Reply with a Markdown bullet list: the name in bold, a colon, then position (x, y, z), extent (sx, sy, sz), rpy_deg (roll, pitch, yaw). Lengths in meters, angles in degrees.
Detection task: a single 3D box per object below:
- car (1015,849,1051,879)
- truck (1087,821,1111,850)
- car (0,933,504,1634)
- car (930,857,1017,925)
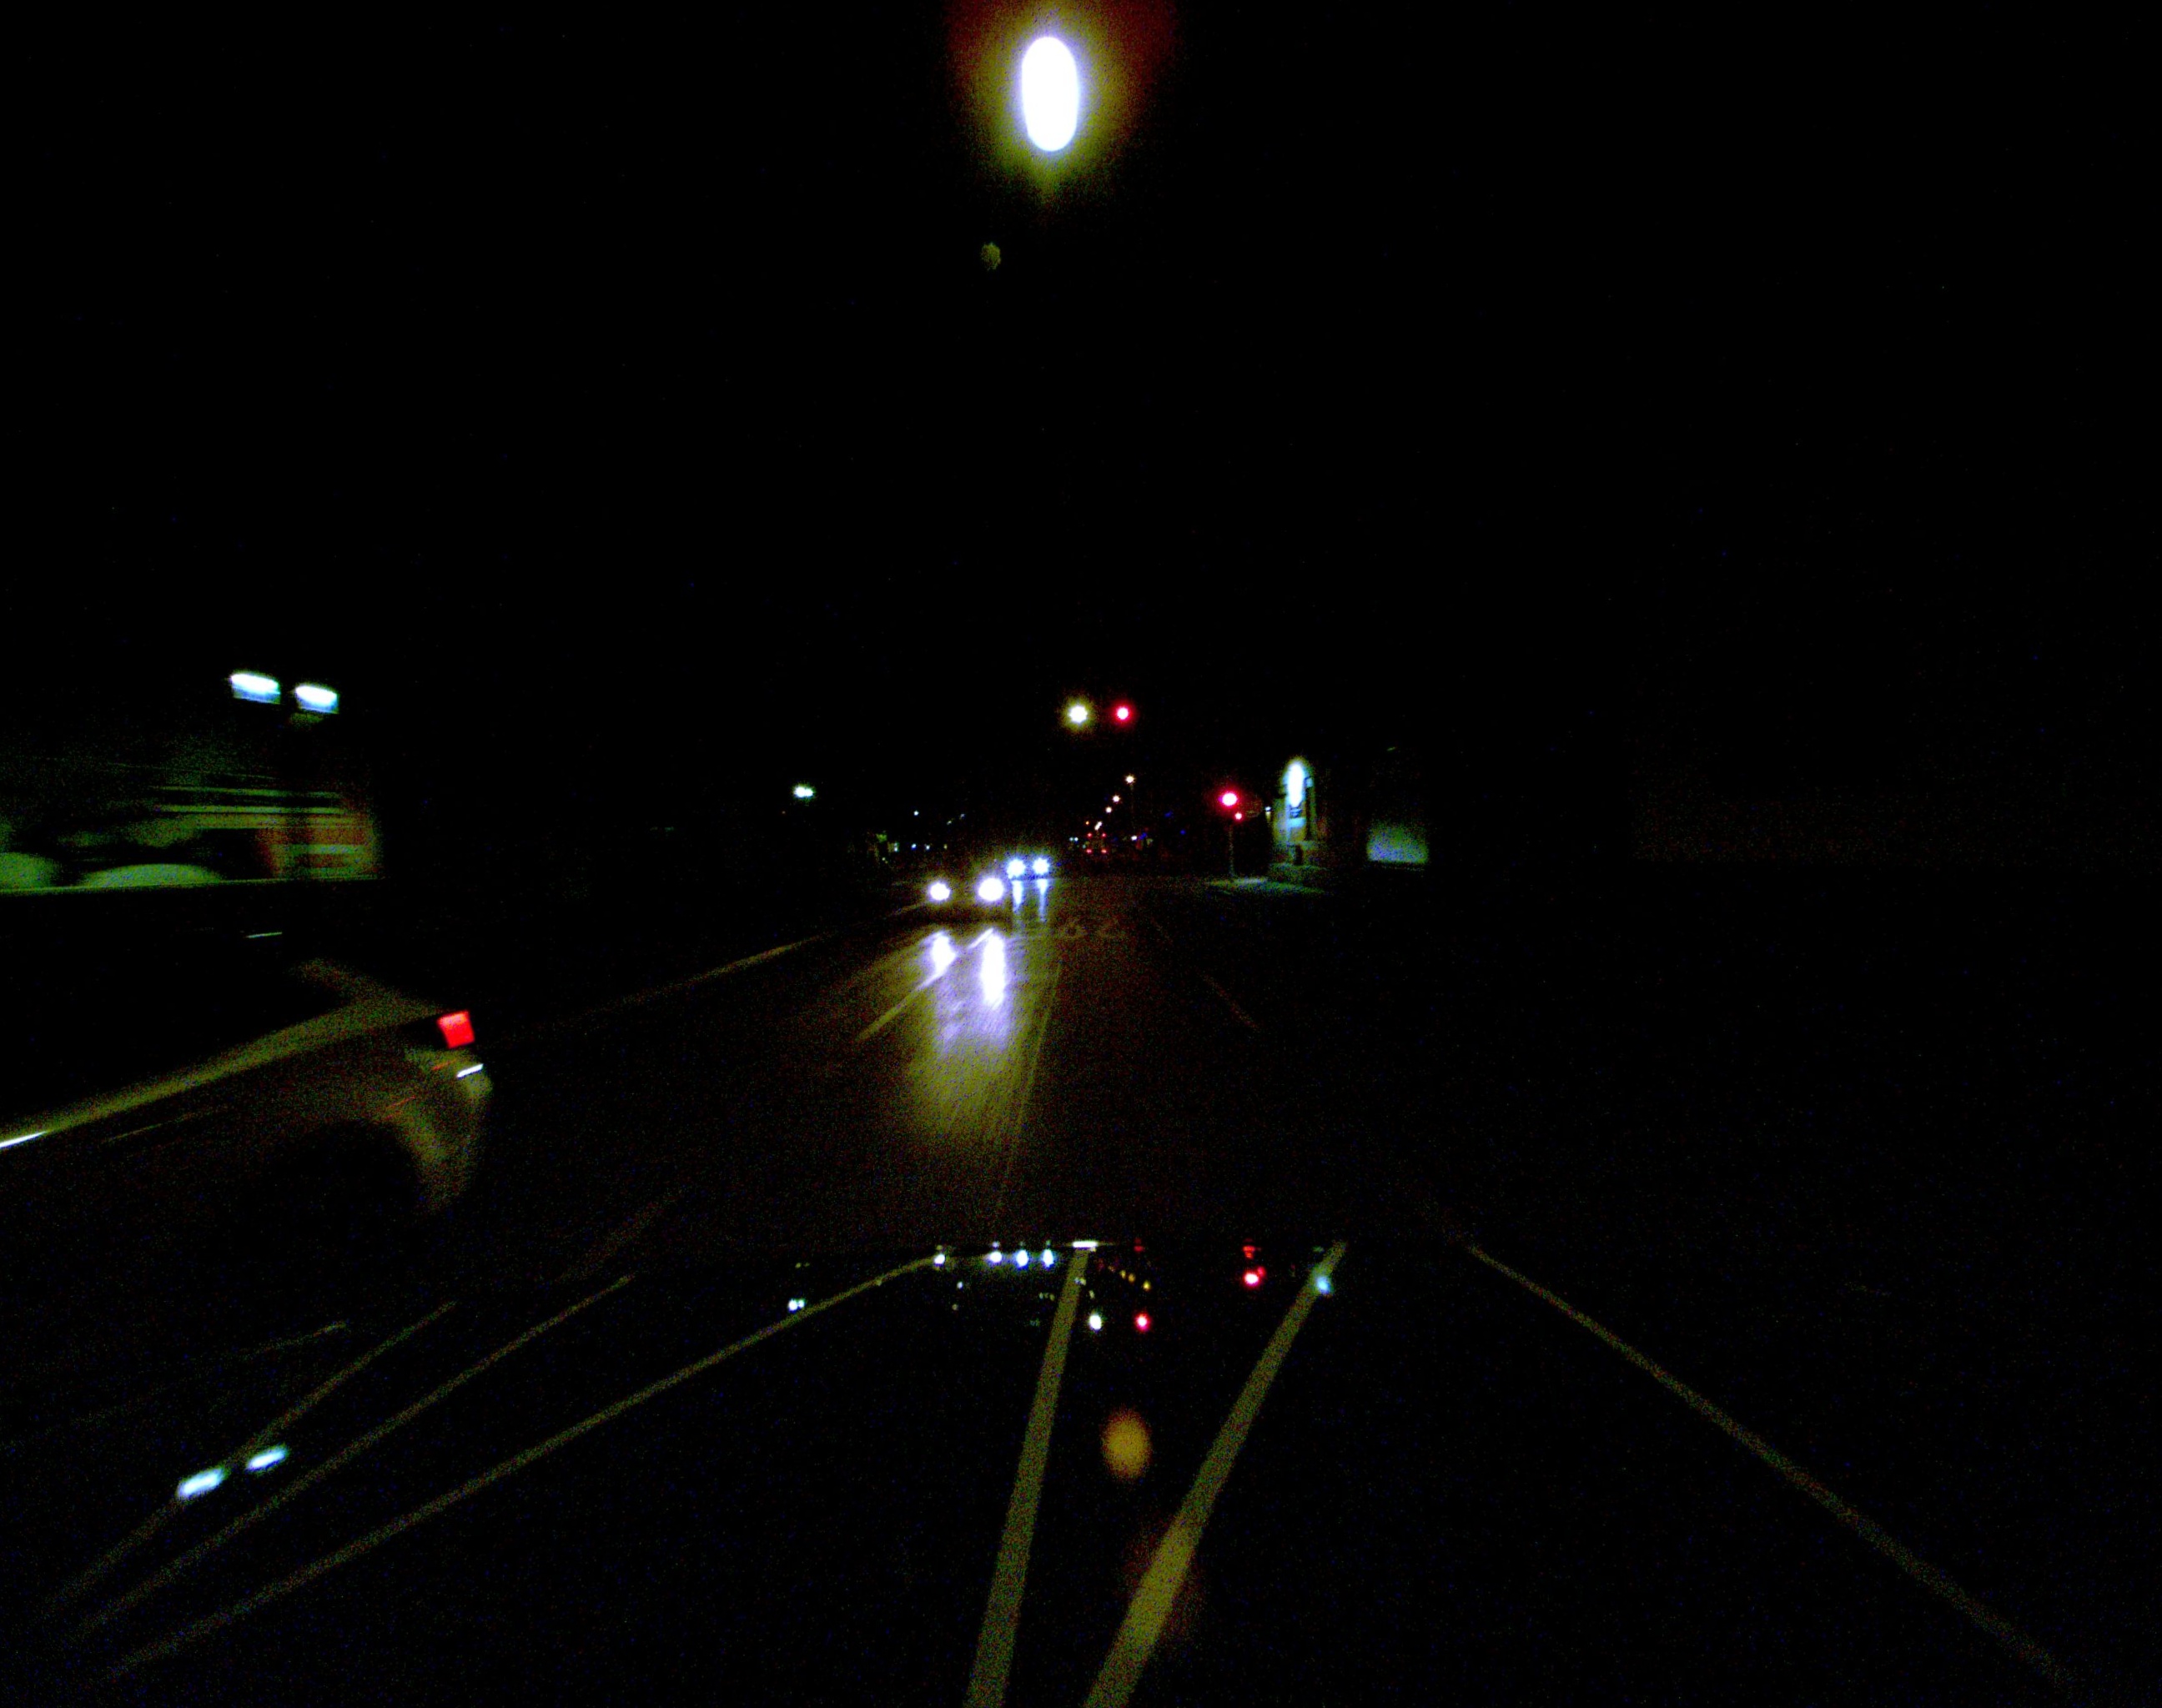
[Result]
- **car**: position (-2.690, 0.533, 43.492), extent (1.729, 1.455, 3.999), rpy_deg (-3, 1, 0)
- **truck**: position (2.997, -3.070, 129.867), extent (3.516, 4.558, 9.038), rpy_deg (-3, 1, 0)
- **car**: position (-3.356, 1.106, 0.941), extent (1.729, 1.421, 4.498), rpy_deg (-3, 1, 1)
- **car**: position (-2.670, 0.878, 19.628), extent (1.634, 1.430, 3.839), rpy_deg (-3, 1, 0)
